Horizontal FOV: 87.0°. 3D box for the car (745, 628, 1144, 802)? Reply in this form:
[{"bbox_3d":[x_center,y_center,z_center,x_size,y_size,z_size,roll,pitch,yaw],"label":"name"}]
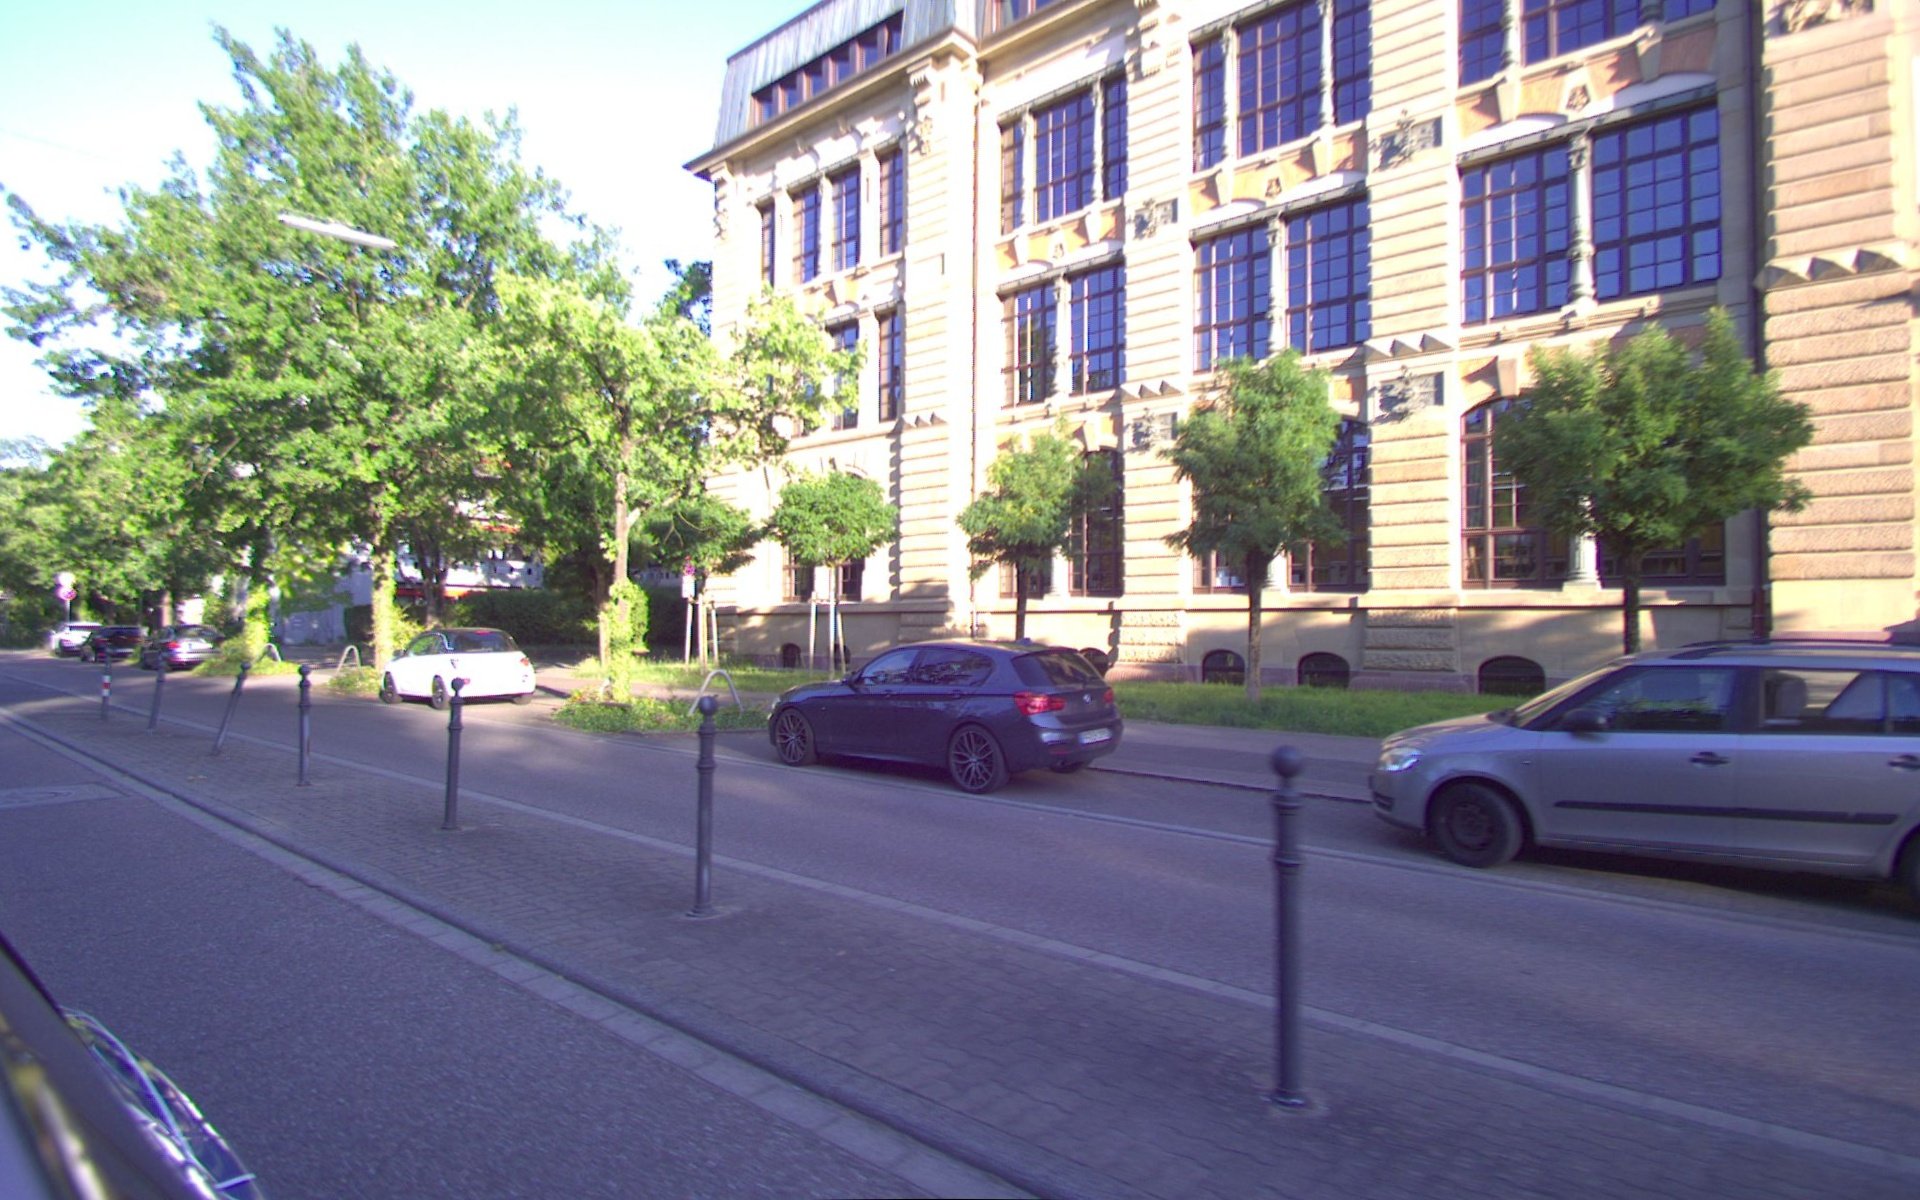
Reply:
[{"bbox_3d":[-0.326,1.069,10.966,4.374,1.507,1.601,-1,-2,41],"label":"car"}]

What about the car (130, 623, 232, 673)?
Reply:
[{"bbox_3d":[-25.451,1.510,33.004,4.861,1.522,1.783,-1,-1,42],"label":"car"}]

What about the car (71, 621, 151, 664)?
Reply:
[{"bbox_3d":[-33.479,1.629,39.885,4.144,1.628,1.761,-1,-1,41],"label":"car"}]

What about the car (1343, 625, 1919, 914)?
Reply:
[{"bbox_3d":[5.007,0.943,6.629,4.369,1.507,1.703,-1,0,37],"label":"car"}]

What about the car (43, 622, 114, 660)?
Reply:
[{"bbox_3d":[-39.582,1.824,45.409,4.144,1.628,1.785,-1,-2,41],"label":"car"}]

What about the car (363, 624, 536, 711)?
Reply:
[{"bbox_3d":[-9.912,1.223,19.556,3.922,1.507,1.601,-1,-2,41],"label":"car"}]
